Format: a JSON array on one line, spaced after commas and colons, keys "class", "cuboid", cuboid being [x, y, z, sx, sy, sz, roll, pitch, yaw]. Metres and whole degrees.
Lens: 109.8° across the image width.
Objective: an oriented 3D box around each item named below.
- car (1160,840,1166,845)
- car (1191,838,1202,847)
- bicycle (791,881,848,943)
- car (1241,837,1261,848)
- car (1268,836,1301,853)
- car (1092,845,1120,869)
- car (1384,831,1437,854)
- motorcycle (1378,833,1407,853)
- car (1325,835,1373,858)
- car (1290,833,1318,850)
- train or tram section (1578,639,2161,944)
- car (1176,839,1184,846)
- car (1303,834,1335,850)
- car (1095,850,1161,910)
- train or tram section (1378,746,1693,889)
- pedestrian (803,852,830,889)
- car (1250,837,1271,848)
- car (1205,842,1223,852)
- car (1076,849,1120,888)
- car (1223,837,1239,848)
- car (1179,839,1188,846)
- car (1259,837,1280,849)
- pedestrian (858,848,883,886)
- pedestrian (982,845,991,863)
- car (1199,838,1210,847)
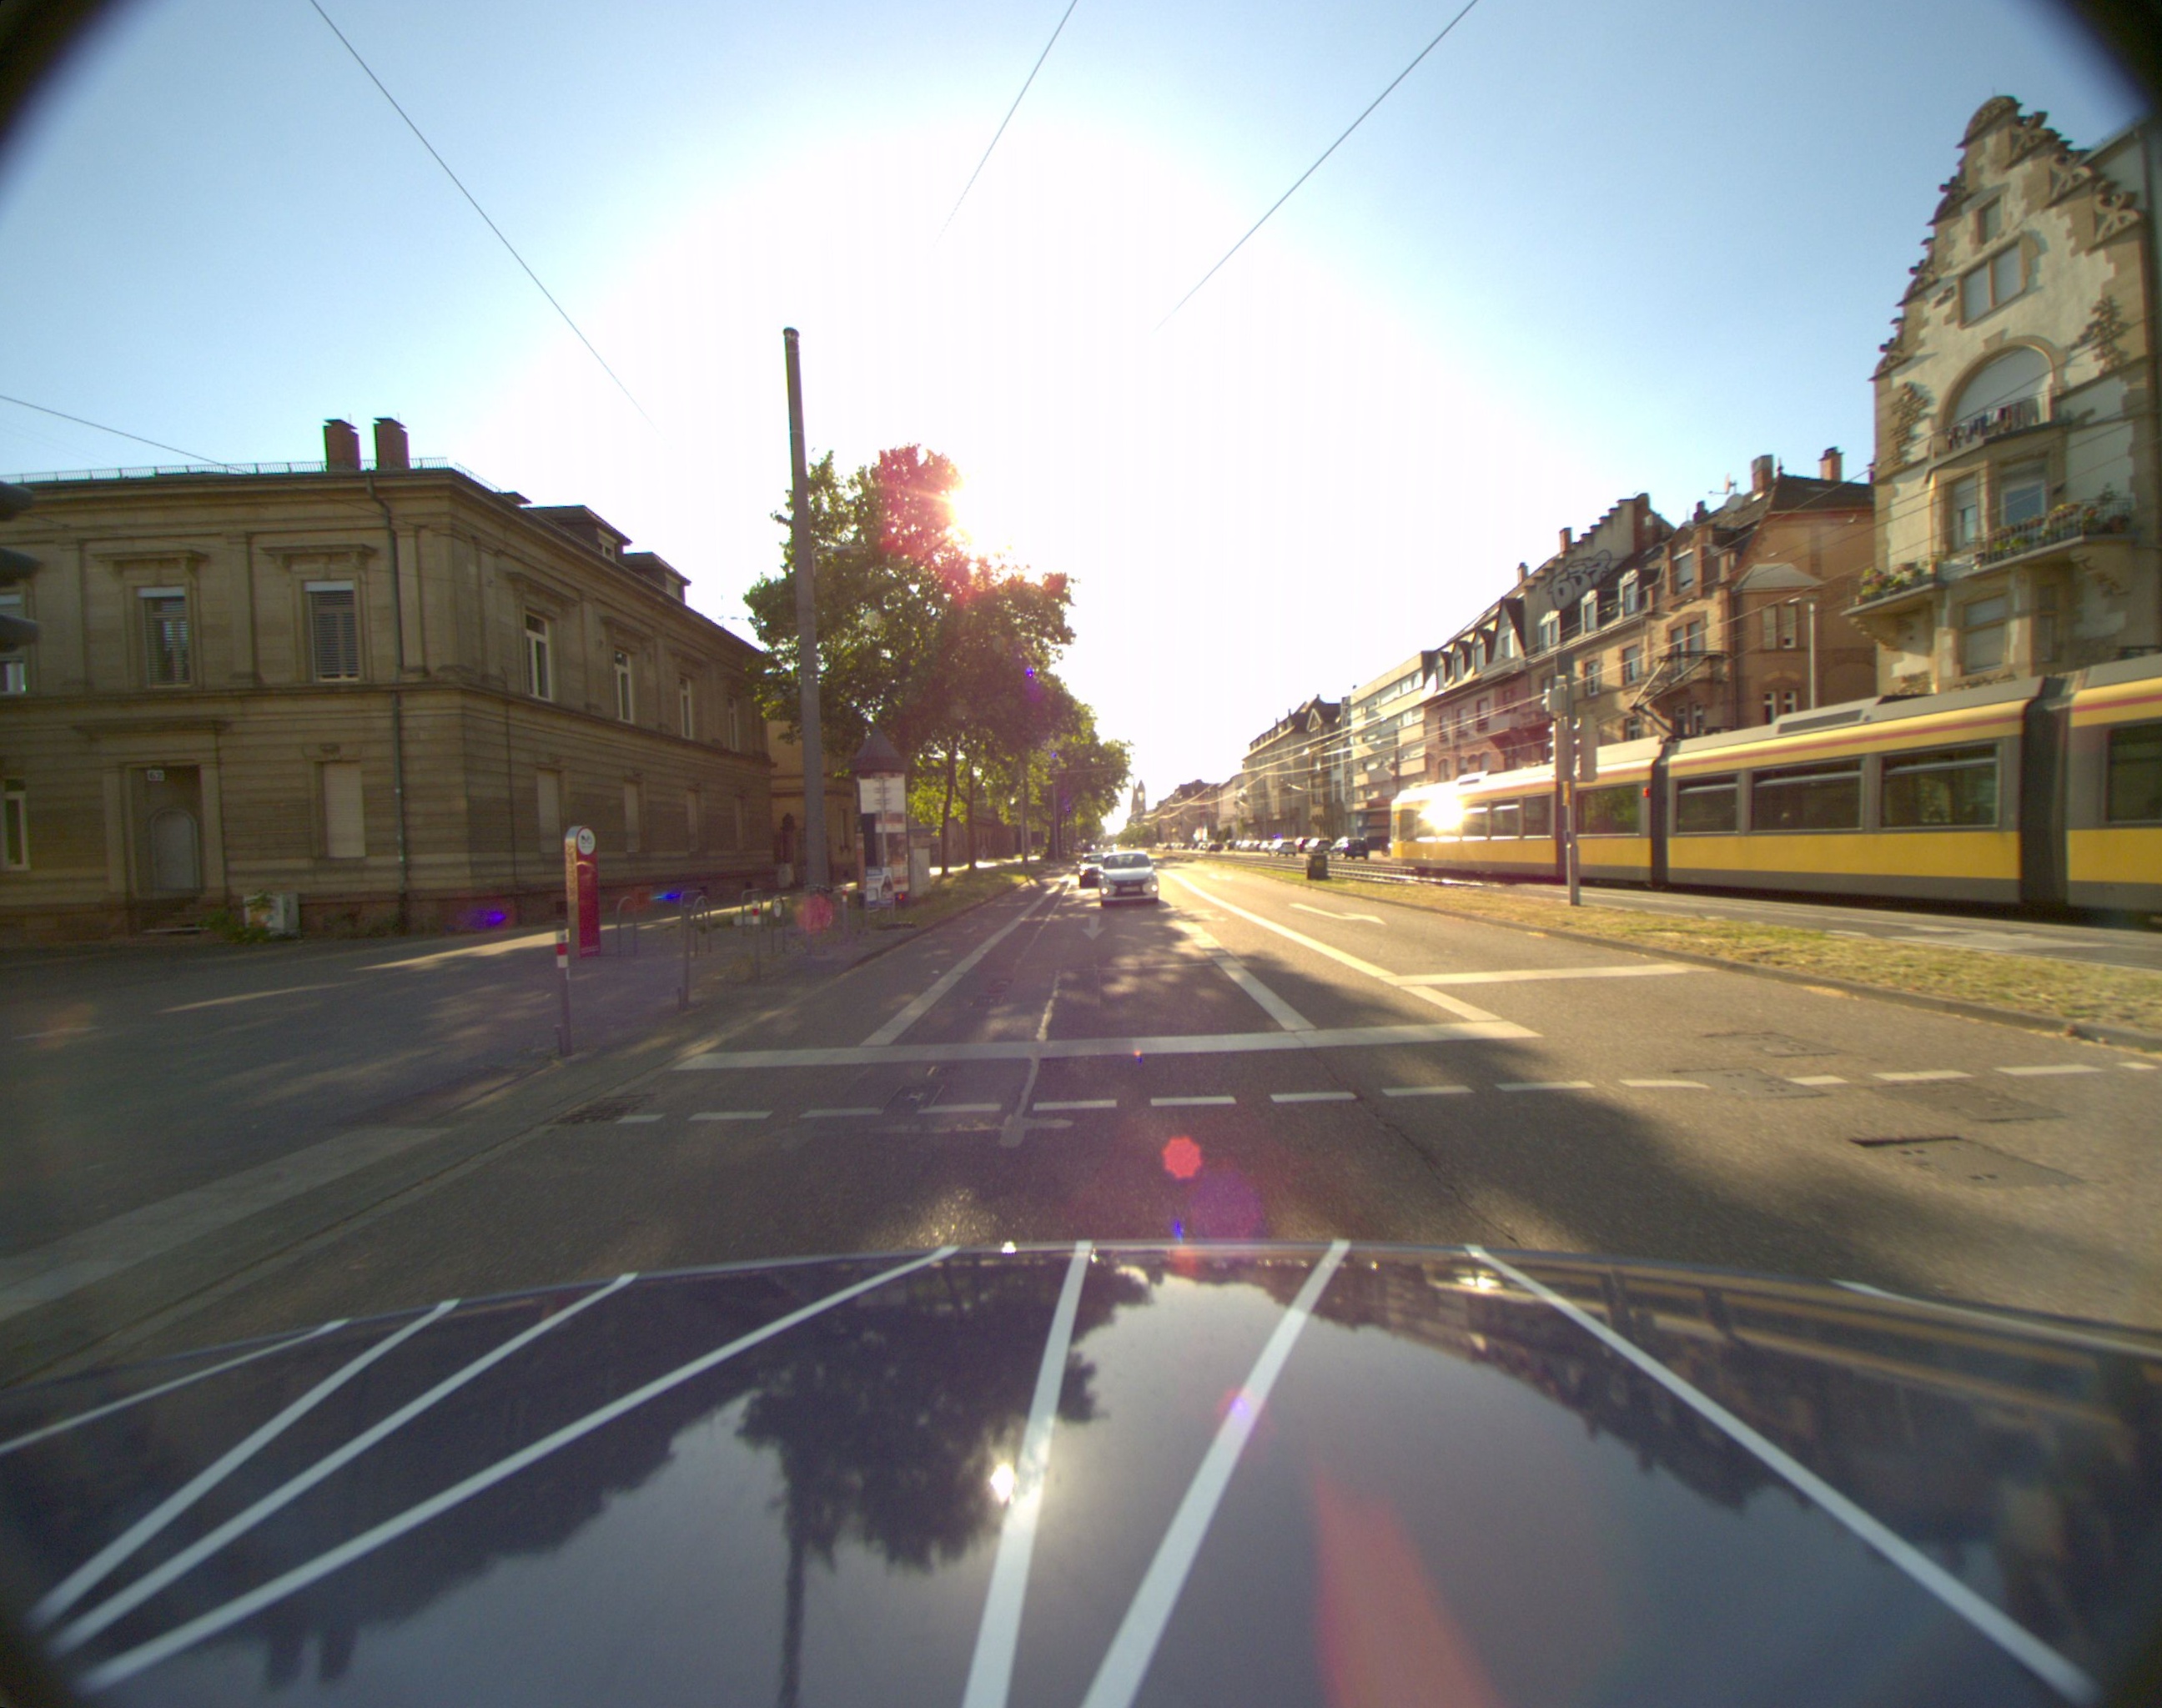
[{"class": "car", "cuboid": [26.025, -3.641, 240.567, 1.624, 1.581, 3.450, -4, 1, 1]}, {"class": "car", "cuboid": [25.633, -2.526, 168.363, 1.727, 1.776, 3.880, -4, 1, 1]}, {"class": "bicycle", "cuboid": [-5.113, 1.108, 14.955, 0.541, 1.055, 1.771, -2, 1, -3]}, {"class": "car", "cuboid": [24.588, -1.595, 109.934, 1.642, 1.438, 3.537, -4, 1, -6]}, {"class": "car", "cuboid": [18.630, -0.858, 69.829, 1.824, 1.449, 4.540, -2, 1, 1]}, {"class": "car", "cuboid": [1.770, 0.202, 53.210, 1.833, 1.543, 4.000, -2, 1, 2]}, {"class": "car", "cuboid": [23.904, -0.834, 55.288, 1.861, 1.490, 4.210, -5, 1, 0]}, {"class": "motorcycle", "cuboid": [24.190, -0.865, 59.010, 1.859, 1.413, 0.629, -4, 0, 1]}, {"class": "car", "cuboid": [18.124, -0.507, 51.546, 1.824, 1.449, 4.156, -2, 1, 1]}, {"class": "car", "cuboid": [24.410, -1.367, 83.389, 1.860, 1.677, 4.263, -4, 1, 2]}, {"class": "train or tram section", "cuboid": [13.760, -0.805, 12.349, 2.820, 3.469, 13.202, -2, 1, 1]}, {"class": "car", "cuboid": [25.725, -2.967, 198.184, 1.624, 1.581, 3.450, -4, 1, 1]}, {"class": "car", "cuboid": [24.376, -1.203, 78.022, 1.861, 1.490, 4.381, -4, 1, 0]}, {"class": "car", "cuboid": [1.303, 0.696, 22.247, 1.686, 1.462, 4.055, -4, 1, 2]}, {"class": "train or tram section", "cuboid": [13.960, -0.988, 25.594, 2.820, 3.469, 13.202, -2, 1, 1]}, {"class": "pedestrian", "cuboid": [-11.975, 0.729, 34.397, 0.771, 1.597, 0.986, -2, 1, 2]}, {"class": "car", "cuboid": [24.965, -1.586, 105.721, 1.802, 1.422, 3.822, -4, 1, -1]}, {"class": "car", "cuboid": [19.486, -1.028, 111.204, 1.824, 1.449, 4.165, -2, 1, 0]}, {"class": "car", "cuboid": [0.745, 0.583, 32.674, 1.686, 1.462, 4.055, -4, 1, 2]}, {"class": "car", "cuboid": [24.925, -1.971, 126.522, 1.875, 1.727, 3.915, -4, 1, 1]}, {"class": "car", "cuboid": [25.553, -2.811, 189.204, 1.624, 1.581, 3.450, -4, 1, 1]}, {"class": "car", "cuboid": [24.919, -1.496, 100.397, 1.802, 1.471, 3.823, -4, 1, 1]}, {"class": "pedestrian", "cuboid": [-9.534, 0.571, 34.425, 0.771, 1.700, 1.042, -2, 1, 2]}, {"class": "pedestrian", "cuboid": [-9.068, -0.020, 73.239, 0.672, 1.653, 0.874, -1, 1, 2]}, {"class": "car", "cuboid": [24.936, -2.280, 153.296, 1.677, 1.623, 3.408, -4, 1, 1]}]
